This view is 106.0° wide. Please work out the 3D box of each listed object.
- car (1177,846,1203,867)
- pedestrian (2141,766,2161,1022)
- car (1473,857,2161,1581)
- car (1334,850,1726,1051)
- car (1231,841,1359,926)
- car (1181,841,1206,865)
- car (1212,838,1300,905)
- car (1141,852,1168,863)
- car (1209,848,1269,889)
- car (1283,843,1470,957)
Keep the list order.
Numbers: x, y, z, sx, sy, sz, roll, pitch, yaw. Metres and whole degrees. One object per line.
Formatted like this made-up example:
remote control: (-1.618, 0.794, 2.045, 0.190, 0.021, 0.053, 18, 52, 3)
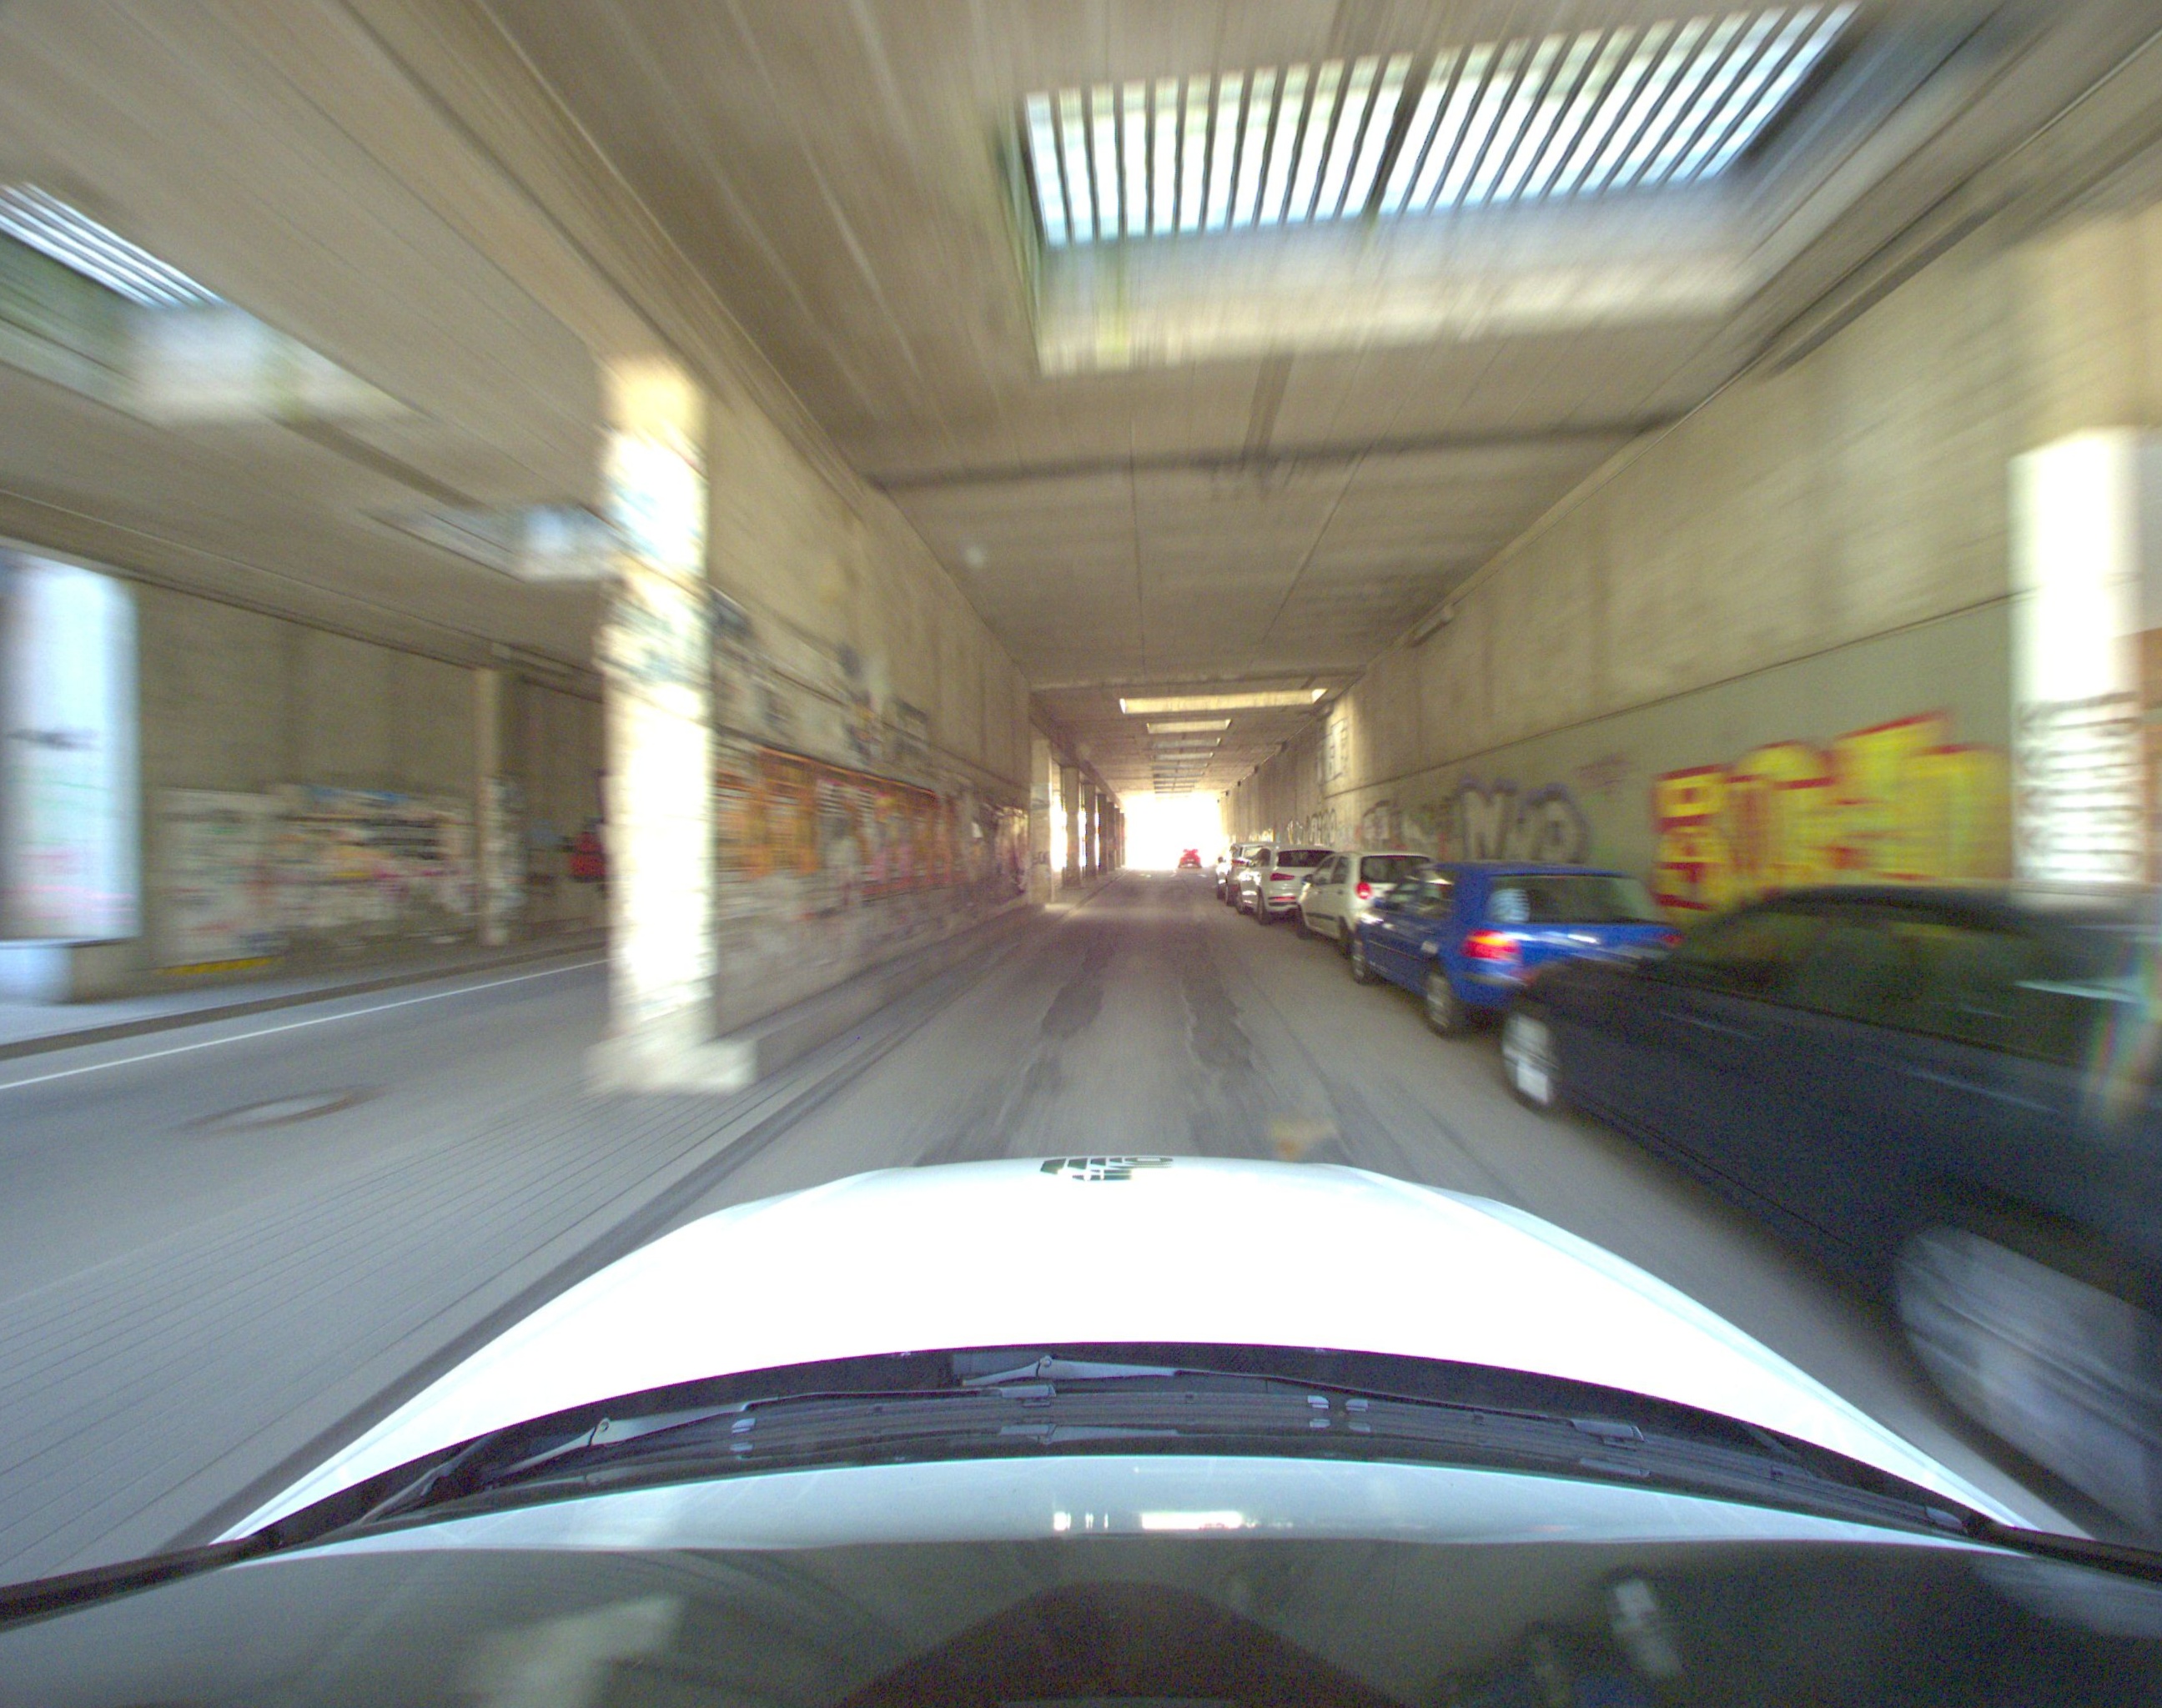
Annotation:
car: (8.082, 0.152, 60.497, 1.817, 1.501, 4.218, -1, 1, 6)
pedestrian: (7.546, 0.278, 5.094, 0.790, 1.699, 0.759, -1, 2, 4)
car: (3.273, 0.746, 3.082, 1.841, 1.433, 4.616, 1, 0, 7)
car: (3.804, 0.693, 7.808, 1.753, 1.410, 4.068, -1, 0, 4)
car: (4.321, 0.542, 17.108, 1.723, 1.546, 4.158, -1, 0, 2)
car: (9.244, -0.078, 67.083, 1.806, 1.882, 4.593, -2, 0, 5)
car: (4.726, 0.398, 22.538, 1.844, 1.666, 4.377, 0, 1, 5)
car: (11.113, 0.491, 123.638, 3.963, 1.574, 1.644, -1, 0, 9)
car: (5.715, 0.478, 29.888, 1.693, 1.374, 4.379, 0, 0, 5)
car: (4.351, 0.609, 12.575, 1.598, 1.487, 3.638, -1, 0, 1)
